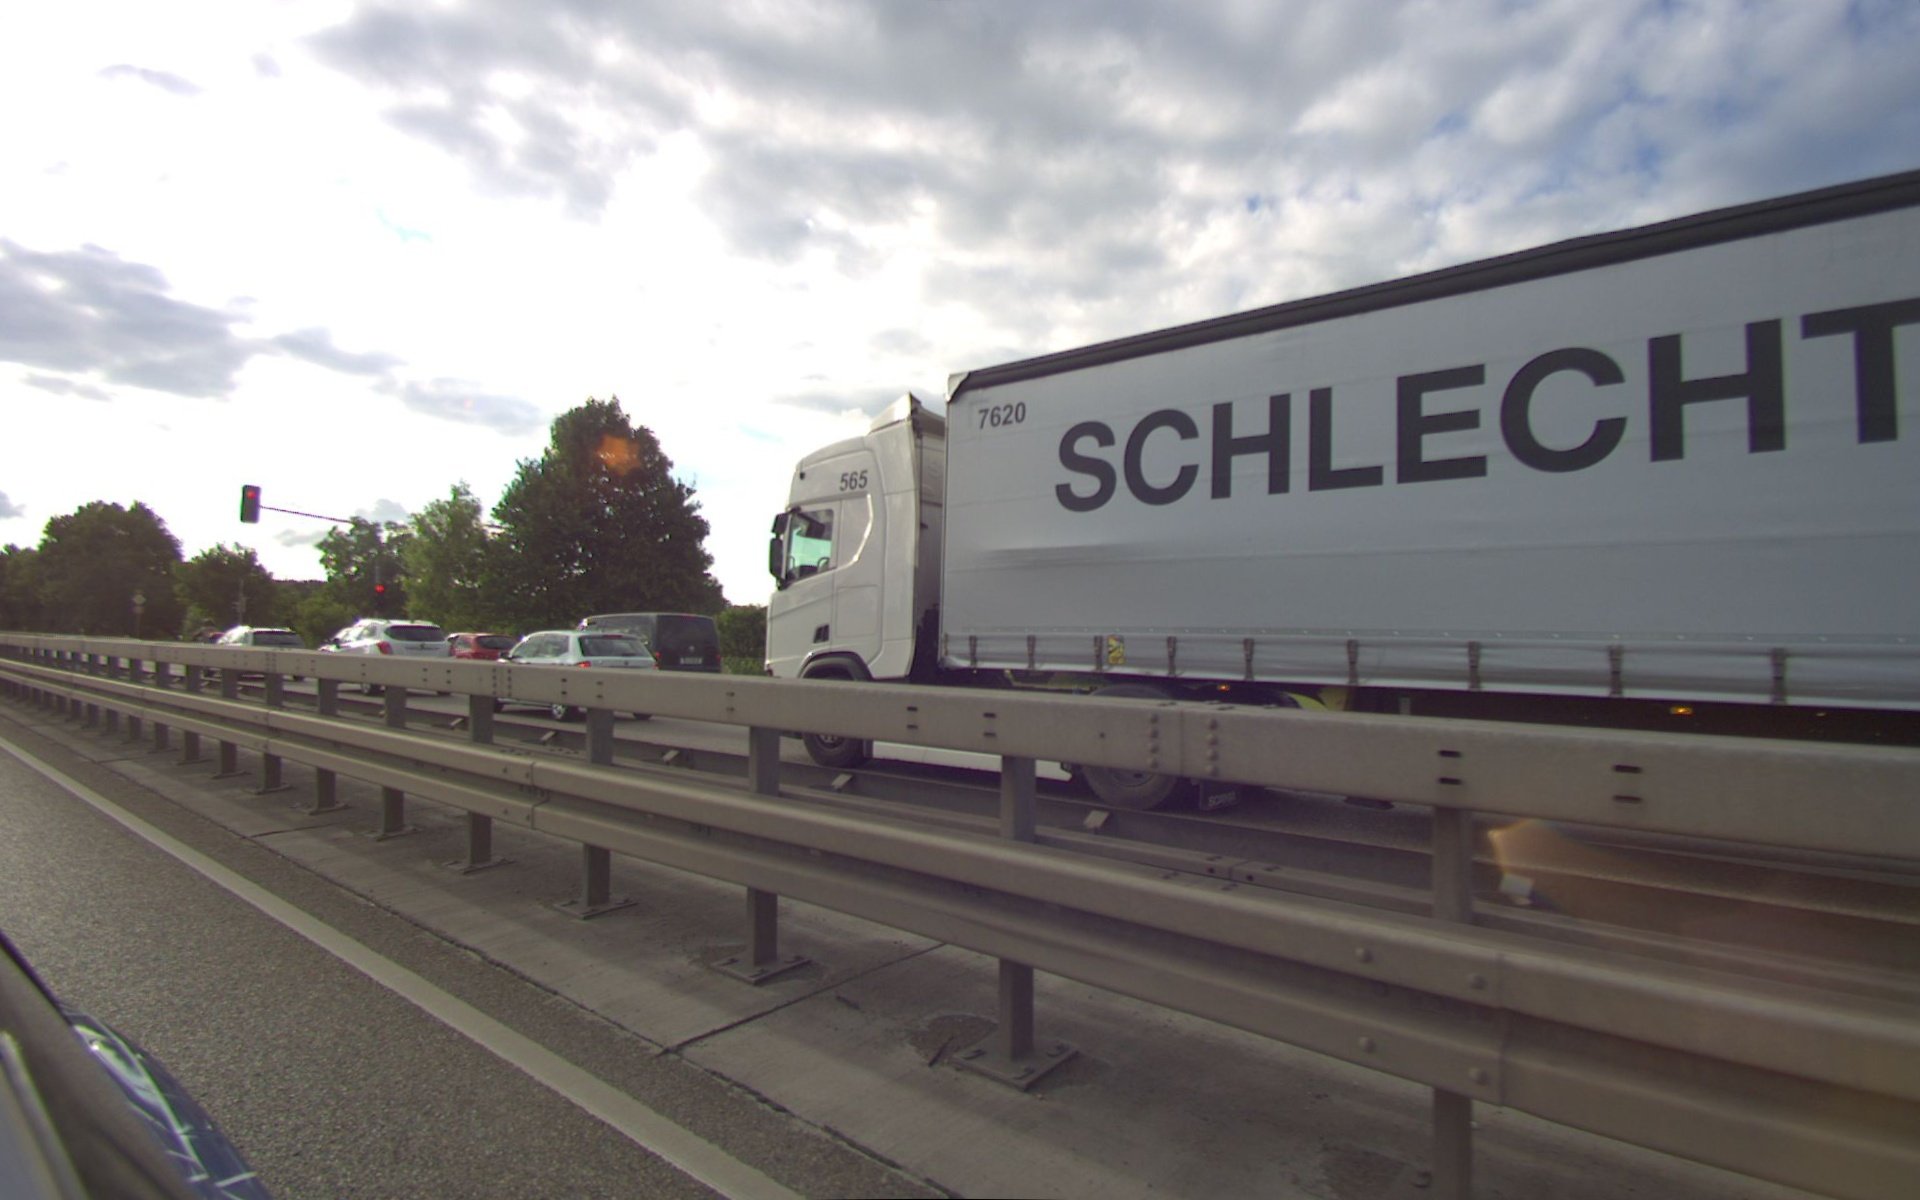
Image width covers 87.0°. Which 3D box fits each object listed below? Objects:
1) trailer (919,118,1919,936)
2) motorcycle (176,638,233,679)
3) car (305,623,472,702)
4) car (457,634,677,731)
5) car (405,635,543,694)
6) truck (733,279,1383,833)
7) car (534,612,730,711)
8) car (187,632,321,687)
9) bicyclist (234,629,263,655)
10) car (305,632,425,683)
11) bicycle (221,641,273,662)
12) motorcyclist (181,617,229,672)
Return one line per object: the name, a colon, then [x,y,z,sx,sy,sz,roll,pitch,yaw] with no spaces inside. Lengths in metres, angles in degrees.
trailer: [6.020,-0.301,6.425,13.908,4.182,3.429,-1,-4,41]
motorcycle: [-24.103,1.854,32.277,2.477,1.212,0.907,-1,-4,41]
car: [-13.038,1.372,22.987,4.402,1.622,1.888,-1,-3,41]
car: [-6.845,1.334,17.450,4.157,1.455,1.770,-1,-3,41]
car: [-13.465,1.740,27.974,4.181,1.476,1.888,-1,-3,41]
truck: [0.881,-0.207,10.887,6.046,4.182,3.438,-1,-4,41]
car: [-7.593,1.336,23.176,4.945,2.029,1.972,-1,-4,41]
car: [-20.352,1.654,29.075,5.149,1.439,1.888,-1,-3,41]
bicyclist: [-40.368,2.406,57.422,1.208,1.462,0.816,3,-4,-44]
car: [-19.729,1.849,33.445,4.935,1.547,1.888,-1,-3,41]
bicycle: [-40.396,2.929,57.375,2.292,1.146,0.816,3,-4,-44]
motorcyclist: [-24.100,1.407,32.293,1.275,1.722,0.907,-1,-4,41]
